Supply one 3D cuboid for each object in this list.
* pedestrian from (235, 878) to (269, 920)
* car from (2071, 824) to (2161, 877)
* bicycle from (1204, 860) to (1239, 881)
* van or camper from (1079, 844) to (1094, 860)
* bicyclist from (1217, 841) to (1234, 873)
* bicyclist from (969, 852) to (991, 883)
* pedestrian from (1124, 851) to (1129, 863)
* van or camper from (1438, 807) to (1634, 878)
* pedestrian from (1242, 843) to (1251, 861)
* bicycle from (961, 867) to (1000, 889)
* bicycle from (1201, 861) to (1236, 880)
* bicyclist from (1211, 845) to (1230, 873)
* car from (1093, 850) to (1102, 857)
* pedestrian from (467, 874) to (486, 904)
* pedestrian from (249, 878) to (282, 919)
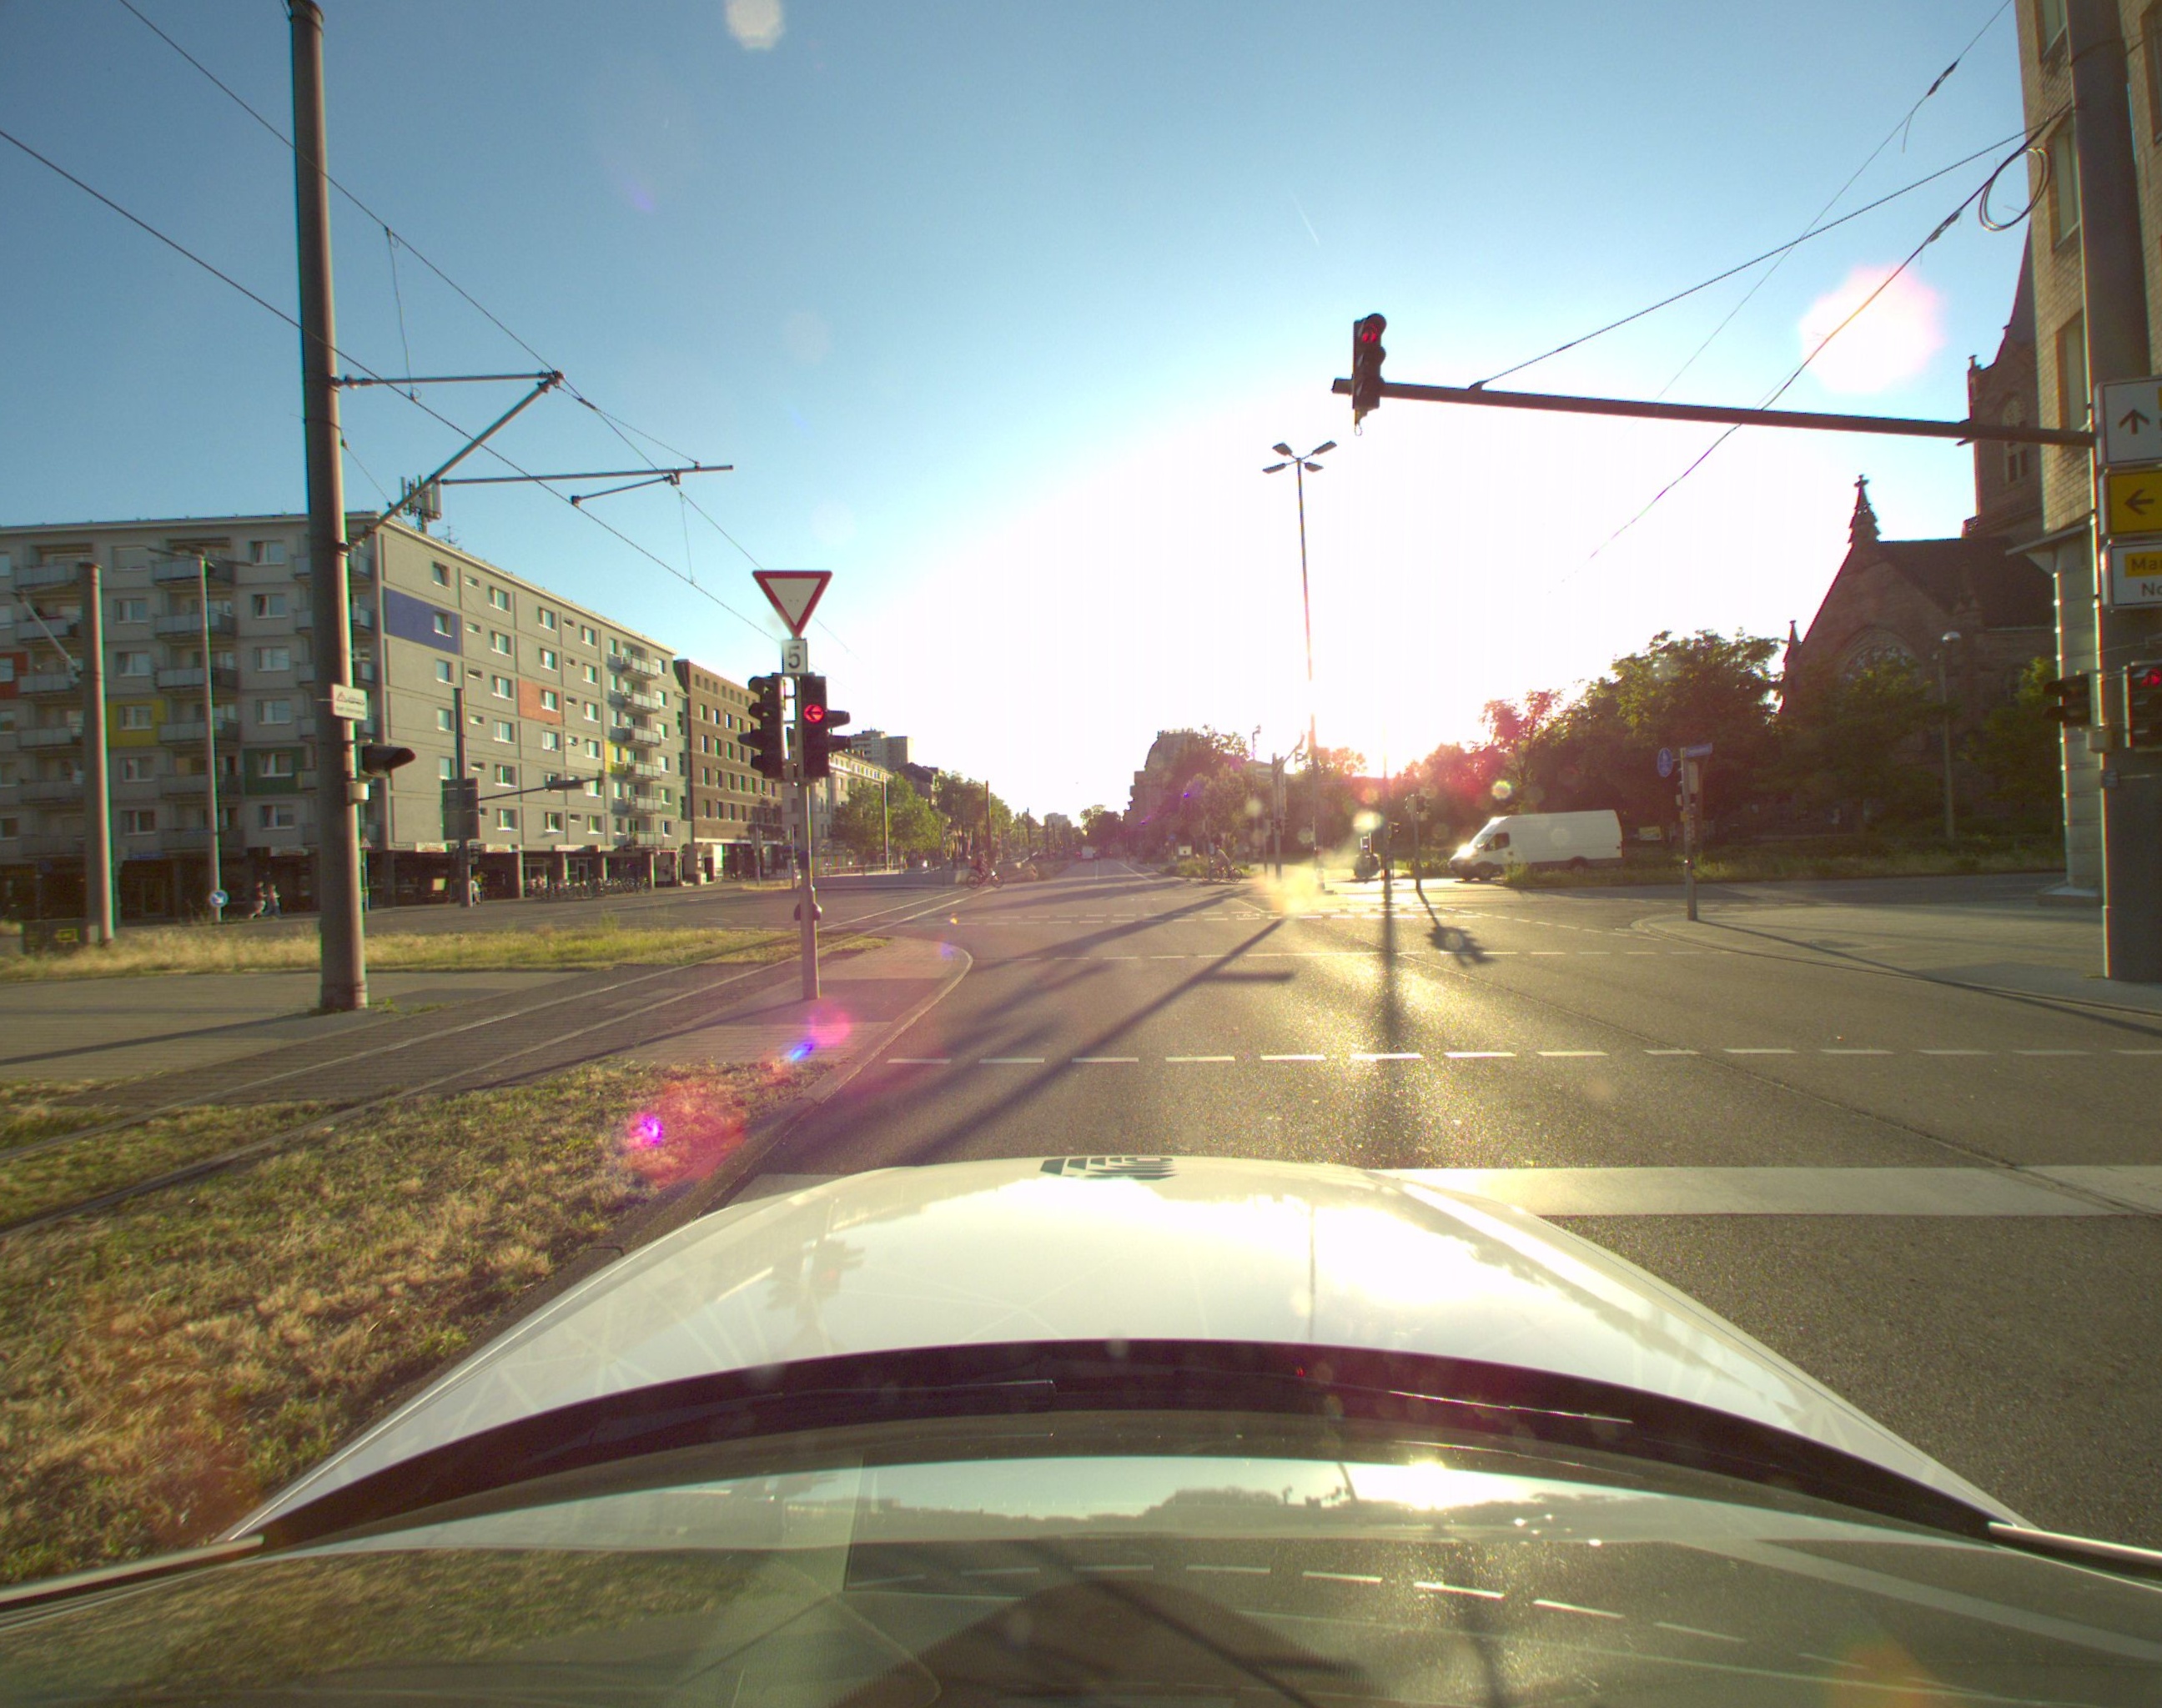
[{"bbox_3d":[-38.726,2.104,38.066,0.702,1.851,0.737,-2,1,1],"label":"pedestrian"},{"bbox_3d":[30.772,-0.132,22.720,3.966,1.434,1.722,-1,1,6],"label":"car"},{"bbox_3d":[7.074,0.820,41.000,1.717,0.970,0.611,-1,1,11],"label":"bicycle"},{"bbox_3d":[0.995,-0.341,137.237,2.254,2.624,4.505,-2,1,2],"label":"van or camper"},{"bbox_3d":[7.268,0.158,40.950,0.792,1.571,0.665,-2,1,11],"label":"bicyclist"},{"bbox_3d":[-4.843,0.624,39.086,0.858,1.442,0.657,-1,1,-30],"label":"bicyclist"},{"bbox_3d":[5.983,0.411,107.634,0.613,1.475,0.801,-2,1,5],"label":"pedestrian"},{"bbox_3d":[19.615,-0.515,35.423,7.013,2.674,2.601,-2,1,3],"label":"van or camper"},{"bbox_3d":[15.016,-0.175,73.910,0.679,1.611,0.613,-2,1,1],"label":"pedestrian"},{"bbox_3d":[-4.816,1.129,39.099,1.739,0.970,0.697,0,2,-30],"label":"bicycle"},{"bbox_3d":[7.271,0.871,42.997,1.714,0.970,0.609,-2,1,-2],"label":"bicycle"},{"bbox_3d":[7.368,0.263,42.985,0.851,1.442,0.663,-2,1,-2],"label":"bicyclist"},{"bbox_3d":[3.408,-0.136,164.167,1.731,1.385,4.002,-2,1,2],"label":"car"},{"bbox_3d":[-34.402,1.976,46.341,0.786,1.669,0.733,-3,1,-36],"label":"pedestrian"},{"bbox_3d":[-37.977,2.074,37.937,0.600,1.847,0.822,-2,1,1],"label":"pedestrian"}]
